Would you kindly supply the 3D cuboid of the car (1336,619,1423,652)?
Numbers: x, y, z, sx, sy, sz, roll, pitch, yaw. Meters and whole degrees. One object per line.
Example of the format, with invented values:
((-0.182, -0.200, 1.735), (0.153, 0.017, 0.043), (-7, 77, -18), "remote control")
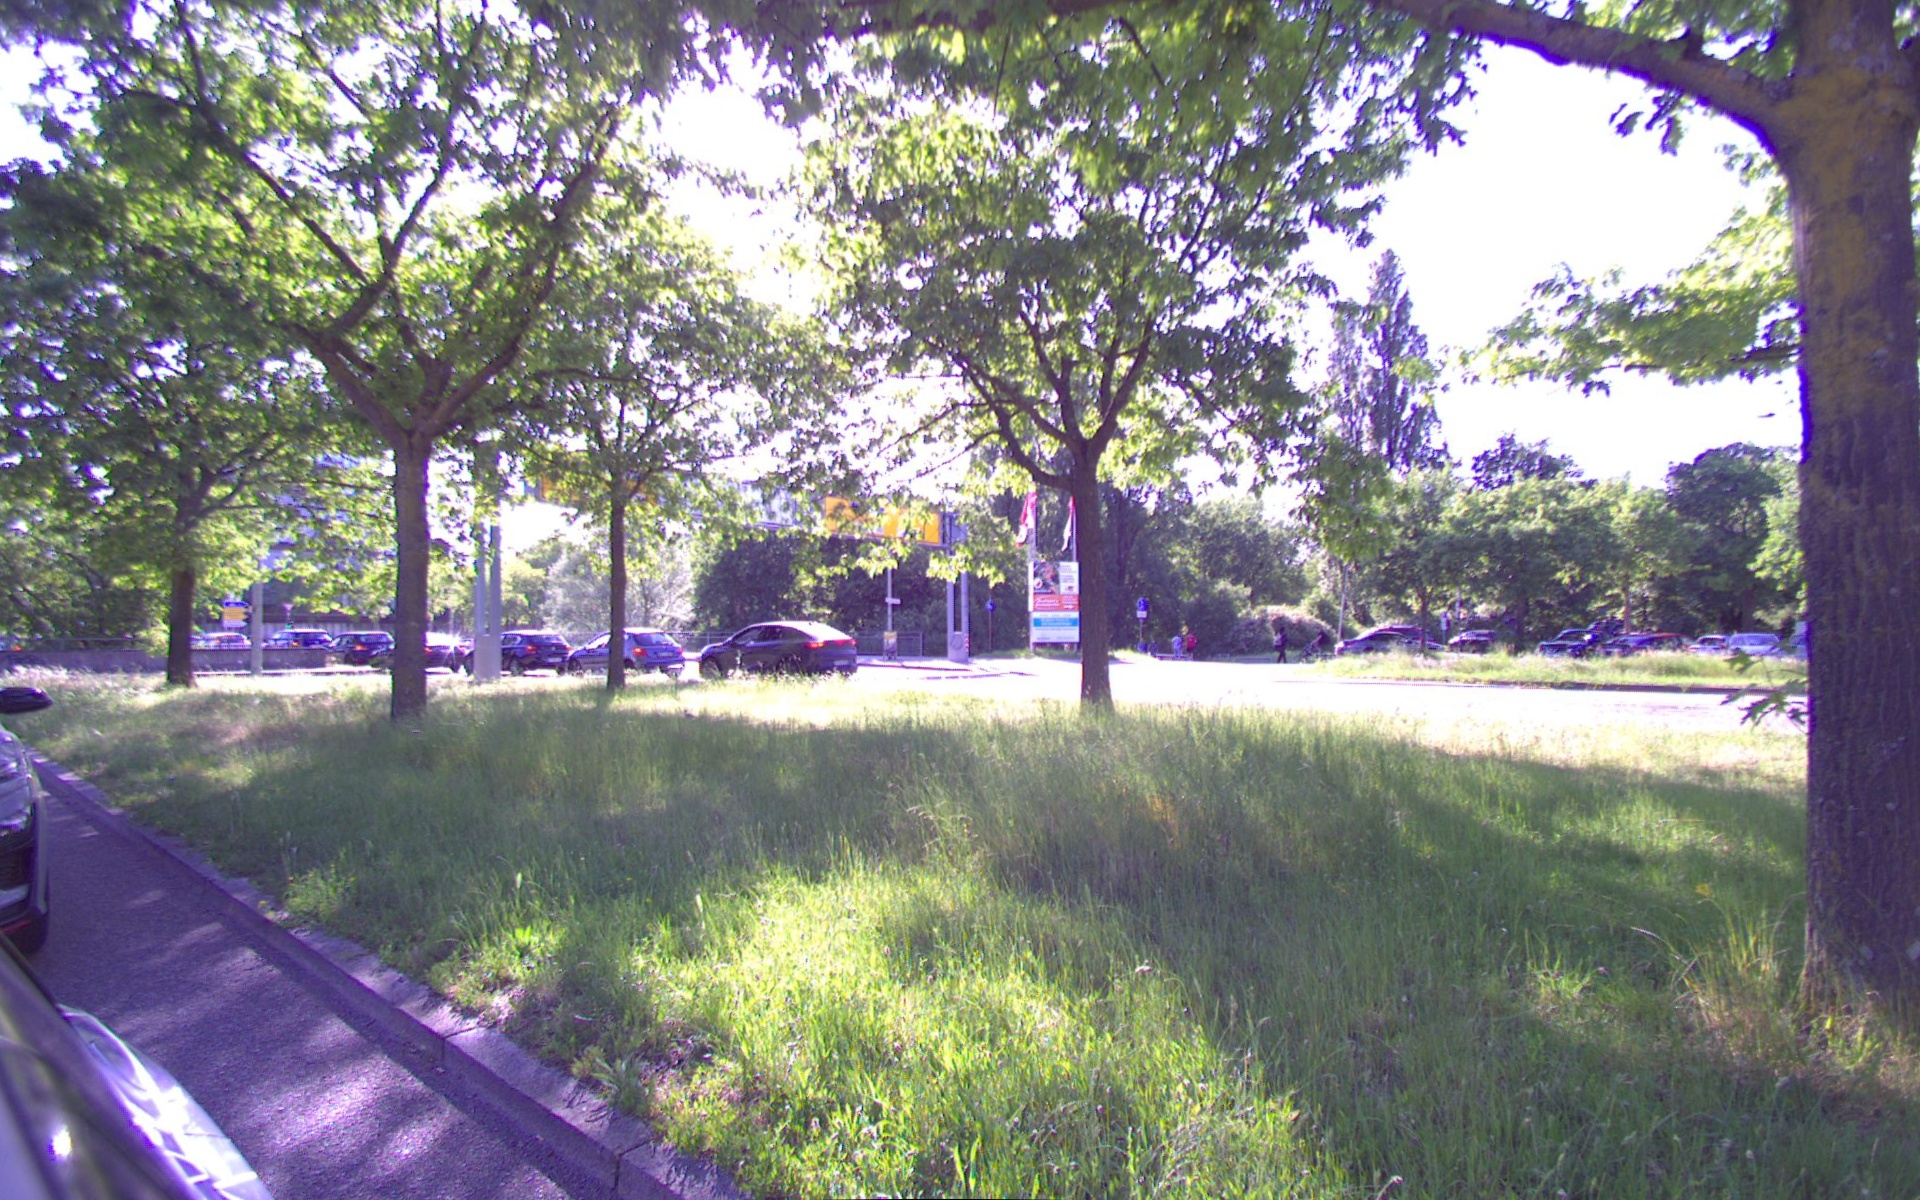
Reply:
((22.427, 1.893, 54.286), (3.959, 1.678, 1.992), (-1, -2, 13), "car")

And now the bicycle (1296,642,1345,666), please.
((16.528, 2.483, 46.383), (2.016, 1.060, 0.684), (-1, -2, 13), "bicycle")

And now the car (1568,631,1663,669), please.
((23.540, 1.782, 36.433), (2.783, 1.315, 1.327), (-2, -2, 32), "car")

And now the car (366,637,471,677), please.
((-19.218, 1.983, 35.858), (4.058, 1.323, 1.604), (-2, -2, 35), "car")

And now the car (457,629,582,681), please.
((-14.161, 1.723, 32.454), (4.215, 1.562, 1.853), (-2, -2, 37), "car")

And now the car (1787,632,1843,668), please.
((35.619, 2.062, 42.217), (1.617, 1.430, 3.038), (-2, -2, 38), "car")

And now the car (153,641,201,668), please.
((-39.990, 2.774, 51.663), (2.761, 1.270, 1.186), (-4, -3, 35), "car")

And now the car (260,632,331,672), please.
((-28.140, 2.202, 42.848), (3.195, 1.571, 1.433), (-4, -3, 34), "car")

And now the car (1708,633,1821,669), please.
((26.892, 1.695, 33.909), (2.783, 1.165, 1.327), (-1, -2, 32), "car")

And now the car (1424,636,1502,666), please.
((31.507, 3.191, 63.510), (3.961, 1.807, 1.991), (-1, -2, 14), "car")

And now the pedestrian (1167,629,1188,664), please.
((12.035, 2.567, 56.096), (0.845, 1.881, 0.904), (-1, 0, -8), "pedestrian")

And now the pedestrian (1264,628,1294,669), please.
((13.067, 1.987, 41.458), (0.976, 1.642, 0.913), (-1, -2, 7), "pedestrian")

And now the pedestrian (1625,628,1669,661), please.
((27.609, 1.785, 40.715), (1.097, 1.285, 1.144), (-1, -2, 14), "pedestrian")

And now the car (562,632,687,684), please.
((-9.558, 1.641, 28.769), (3.601, 1.374, 1.543), (-2, -2, 35), "car")

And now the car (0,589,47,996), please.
((-5.627, 0.765, 4.602), (3.986, 1.544, 1.730), (-2, -2, 41), "car")

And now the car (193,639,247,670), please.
((-35.069, 2.582, 47.934), (2.875, 1.350, 1.214), (-5, -4, 34), "car")

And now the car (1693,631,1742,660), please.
((32.977, 1.981, 44.112), (1.616, 1.187, 3.040), (-2, -2, 35), "car")

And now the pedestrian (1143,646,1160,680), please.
((11.893, 3.885, 62.856), (0.847, 2.060, 0.863), (-1, 0, 1), "pedestrian")

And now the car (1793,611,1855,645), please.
((43.894, 1.412, 51.395), (3.694, 1.681, 1.895), (1, -2, -41), "car")

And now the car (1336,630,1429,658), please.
((21.136, 2.198, 50.756), (3.957, 1.385, 1.826), (-1, -2, 11), "car")

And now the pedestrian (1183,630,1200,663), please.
((12.697, 2.547, 55.599), (0.742, 1.802, 0.905), (-1, 0, 2), "pedestrian")

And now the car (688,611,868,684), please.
((-4.548, 1.145, 25.004), (4.451, 1.660, 1.810), (-2, -2, 36), "car")

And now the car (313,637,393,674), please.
((-23.411, 2.120, 39.029), (3.195, 1.349, 1.464), (-3, -2, 35), "car")

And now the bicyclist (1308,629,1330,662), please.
((16.465, 2.080, 46.438), (0.839, 1.500, 0.678), (-1, -2, 13), "bicyclist")

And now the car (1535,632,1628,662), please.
((23.360, 1.771, 38.116), (2.774, 1.072, 1.324), (-1, -2, 23), "car")
